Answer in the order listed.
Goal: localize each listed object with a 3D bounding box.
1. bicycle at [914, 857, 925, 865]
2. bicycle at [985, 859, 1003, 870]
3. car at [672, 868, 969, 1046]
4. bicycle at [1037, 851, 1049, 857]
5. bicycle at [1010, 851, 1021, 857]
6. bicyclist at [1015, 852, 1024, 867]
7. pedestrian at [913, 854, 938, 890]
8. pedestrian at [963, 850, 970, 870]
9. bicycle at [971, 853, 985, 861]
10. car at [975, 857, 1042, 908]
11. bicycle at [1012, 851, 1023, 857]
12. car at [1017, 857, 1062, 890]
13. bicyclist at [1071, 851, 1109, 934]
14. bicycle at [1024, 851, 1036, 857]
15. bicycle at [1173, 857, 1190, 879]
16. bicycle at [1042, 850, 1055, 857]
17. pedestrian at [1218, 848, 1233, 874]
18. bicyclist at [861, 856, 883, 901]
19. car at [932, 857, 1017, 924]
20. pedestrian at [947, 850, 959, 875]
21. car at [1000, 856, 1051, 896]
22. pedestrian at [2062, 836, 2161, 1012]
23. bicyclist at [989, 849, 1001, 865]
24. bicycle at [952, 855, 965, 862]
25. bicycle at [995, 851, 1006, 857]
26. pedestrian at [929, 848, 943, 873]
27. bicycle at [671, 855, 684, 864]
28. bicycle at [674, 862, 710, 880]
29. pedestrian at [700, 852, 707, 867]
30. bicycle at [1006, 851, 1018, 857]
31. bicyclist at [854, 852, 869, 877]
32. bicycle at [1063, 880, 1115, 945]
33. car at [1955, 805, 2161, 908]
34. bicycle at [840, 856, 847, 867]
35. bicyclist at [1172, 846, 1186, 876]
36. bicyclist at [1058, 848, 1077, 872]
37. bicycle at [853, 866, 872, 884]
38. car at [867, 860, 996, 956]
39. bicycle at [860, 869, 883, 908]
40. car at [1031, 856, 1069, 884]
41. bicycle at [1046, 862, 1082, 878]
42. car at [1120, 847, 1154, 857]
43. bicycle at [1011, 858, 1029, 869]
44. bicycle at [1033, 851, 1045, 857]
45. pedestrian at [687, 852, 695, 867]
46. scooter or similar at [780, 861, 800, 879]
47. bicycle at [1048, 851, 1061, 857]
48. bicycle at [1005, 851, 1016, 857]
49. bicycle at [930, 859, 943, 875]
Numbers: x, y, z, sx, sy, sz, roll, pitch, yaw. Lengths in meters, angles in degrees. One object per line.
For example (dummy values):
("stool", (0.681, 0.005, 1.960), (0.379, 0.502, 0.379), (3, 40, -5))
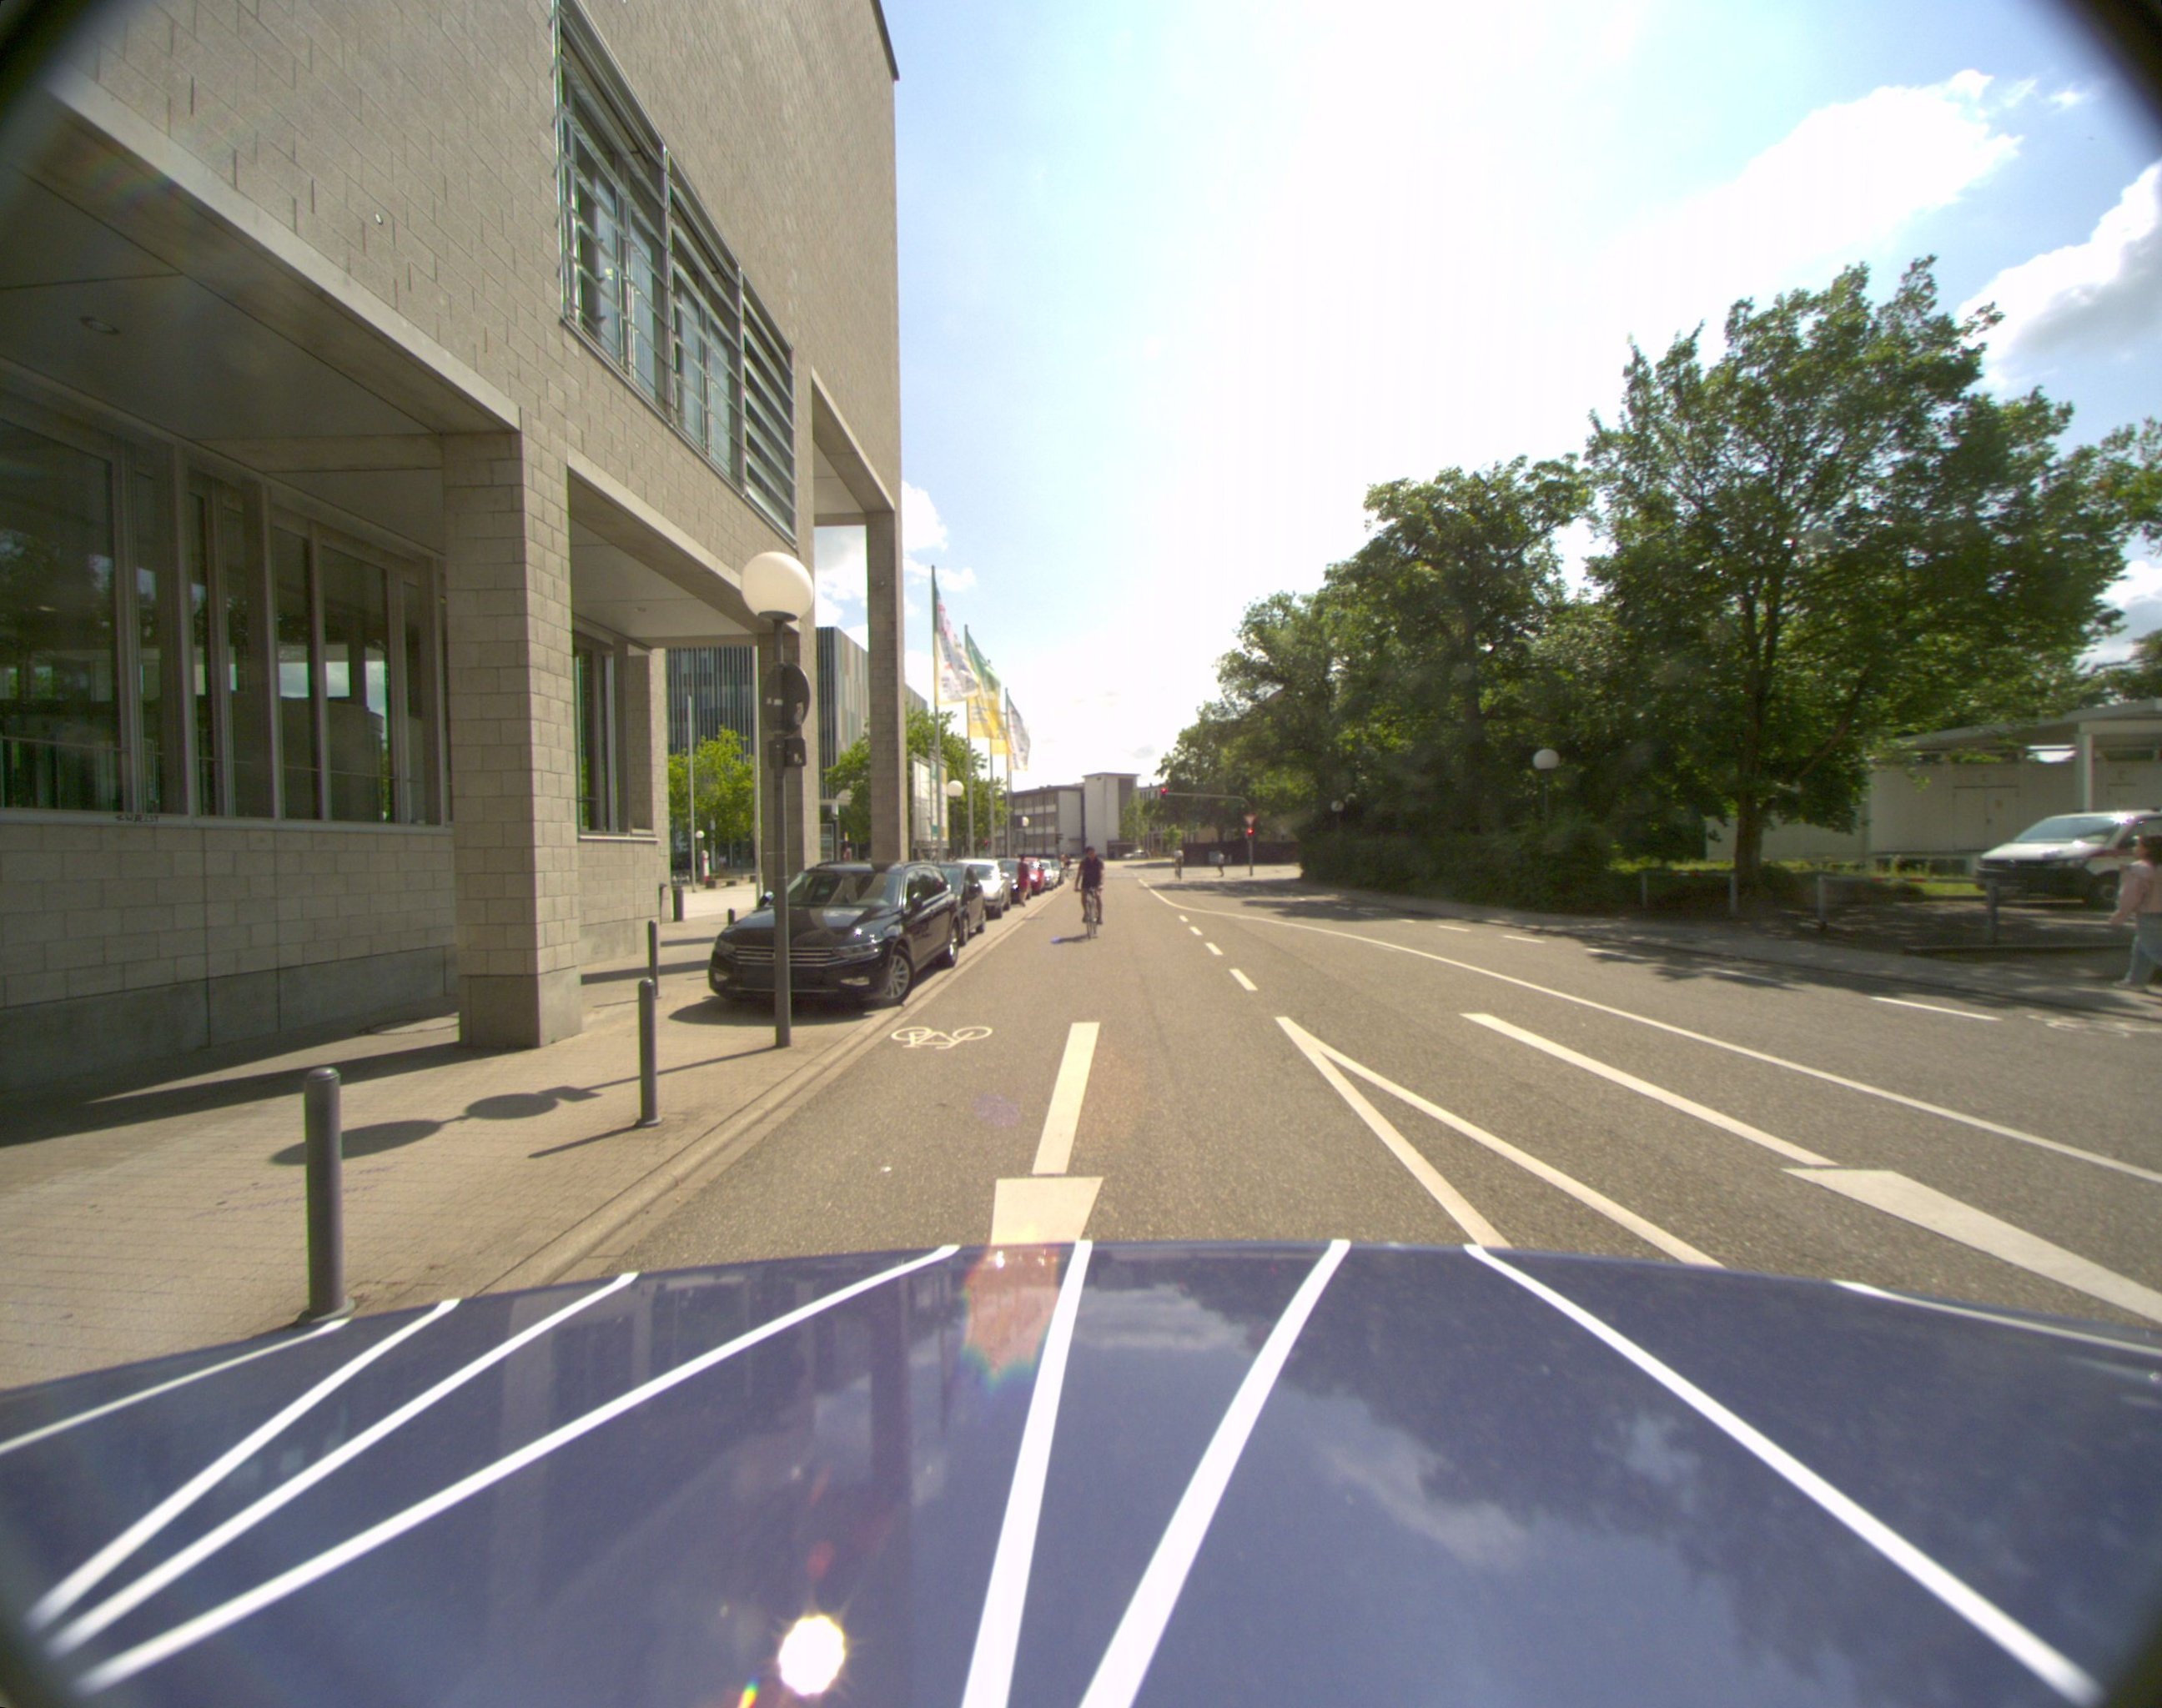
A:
("bicycle", (-20.011, 0.875, 94.145), (0.530, 0.950, 1.768), (-6, 5, -41))
("bicycle", (-8.923, 1.055, 78.165), (1.673, 1.118, 0.694), (-2, 1, -26))
("car", (-2.688, 0.978, 9.129), (1.871, 1.456, 4.520), (-1, 1, 2))
("bicycle", (-5.868, -0.023, 117.809), (1.776, 0.950, 0.528), (-1, 3, -26))
("bicycle", (-10.716, 0.020, 124.684), (1.776, 0.950, 0.528), (-1, 3, -26))
("bicyclist", (-6.426, 0.594, 79.300), (0.787, 1.530, 0.656), (-2, 1, -22))
("pedestrian", (-7.483, 0.857, 36.588), (0.920, 1.730, 1.001), (-1, 1, 2))
("pedestrian", (-11.100, 0.572, 73.578), (0.575, 1.832, 0.415), (-1, 2, -5))
("bicycle", (-12.126, 0.372, 89.129), (1.768, 0.950, 0.530), (0, 2, 40))
("car", (-2.356, 0.887, 25.670), (1.723, 1.520, 4.000), (-1, 1, 2))
("bicycle", (-10.379, 0.016, 123.855), (1.776, 0.950, 0.528), (-1, 3, -26))
("car", (-1.925, 0.884, 36.594), (1.722, 1.392, 4.439), (1, 1, 2))
("bicyclist", (0.189, 0.719, 14.750), (0.662, 1.555, 0.933), (-1, 1, 4))
("bicycle", (-8.092, 0.000, 120.690), (1.776, 0.950, 0.528), (-1, 3, -26))
("bicycle", (5.742, 0.778, 43.520), (0.694, 1.164, 2.209), (-1, 1, 1))
("bicycle", (-4.956, -0.057, 115.816), (1.776, 0.950, 0.528), (-1, 3, -26))
("pedestrian", (9.794, 0.482, 51.487), (0.930, 1.690, 0.854), (-1, 0, 5))
("bicyclist", (-6.290, 0.720, 22.824), (0.608, 1.312, 0.741), (-1, 0, -15))
("car", (-2.755, 0.885, 20.491), (1.723, 1.520, 4.565), (1, 0, -1))
("pedestrian", (-9.570, 0.630, 56.801), (0.594, 1.790, 0.612), (-2, -1, 25))
("car", (-2.246, 0.874, 31.629), (1.618, 1.488, 4.147), (1, 0, 3))
("pedestrian", (10.309, 0.641, 7.268), (0.715, 1.617, 0.883), (-1, 1, 0))
("bicyclist", (-8.822, 0.275, 78.184), (1.001, 1.606, 0.656), (-2, 2, -27))
("bicycle", (-15.664, 0.561, 97.016), (1.768, 0.950, 0.530), (0, 2, 40))
("bicycle", (-13.741, 0.056, 129.792), (1.776, 0.950, 0.528), (-1, 3, -26))
("pedestrian", (-10.696, 0.439, 56.237), (0.856, 1.809, 1.175), (1, 1, -4))
("bicycle", (-47.566, 0.680, 89.624), (0.373, 0.950, 1.548), (0, 3, 17))
("bicycle", (-25.991, 1.156, 50.774), (2.027, 1.176, 0.800), (0, 2, 13))
("pedestrian", (-45.371, 0.665, 91.364), (0.554, 1.832, 0.561), (-1, 2, -5))
("bicycle", (-11.446, -0.001, 126.027), (1.776, 0.950, 0.528), (-1, 3, -26))
("bicyclist", (-14.290, 0.684, 49.541), (0.682, 1.559, 0.879), (-1, 0, 2))
("bicycle", (0.191, 1.098, 14.736), (0.903, 1.072, 2.154), (-1, 0, 3))
("car", (21.841, -0.011, 15.734), (4.931, 1.975, 2.000), (-1, 2, 4))
("bicycle", (-27.685, 0.845, 88.581), (0.373, 1.180, 1.546), (0, 3, 1))
("bicyclist", (5.649, 0.405, 43.771), (0.694, 1.727, 0.918), (-1, 1, 1))
("bicyclist", (-0.869, 0.403, 50.243), (1.016, 1.539, 0.696), (0, 1, 23))
("bicycle", (-14.281, 1.334, 49.593), (0.682, 1.131, 1.693), (-1, -1, 2))
("car", (-2.713, 0.918, 14.626), (1.618, 1.488, 4.006), (-1, 1, 1))
("bicycle", (-6.283, 1.007, 22.806), (0.608, 1.131, 1.586), (-1, -1, -15))
("car", (-1.668, 0.850, 42.696), (1.722, 1.392, 4.948), (1, 1, 2))
("bicycle", (-1.139, 1.057, 50.401), (2.204, 0.983, 0.797), (0, 1, 25))
("car", (8.122, -0.295, 110.411), (4.500, 1.299, 1.995), (-2, 3, -30))
("bicycle", (-6.345, 0.990, 79.341), (1.673, 1.118, 0.694), (-2, 1, -23))
("bicycle", (-6.588, -0.016, 118.921), (1.776, 0.950, 0.528), (-1, 3, -26))
("pedestrian", (-47.075, 0.676, 91.727), (0.554, 1.832, 0.561), (-1, 2, -5))
("scooter or similar", (-19.652, 1.100, 51.277), (1.191, 1.159, 0.353), (-1, 3, 2))
("bicycle", (-4.008, -0.024, 114.728), (1.775, 0.950, 0.528), (-1, 3, -24))
("bicycle", (-11.749, 0.018, 126.611), (1.776, 0.950, 0.528), (-1, 3, -26))
("bicycle", (-10.698, 0.950, 56.227), (0.818, 1.067, 1.889), (0, 2, -6))
